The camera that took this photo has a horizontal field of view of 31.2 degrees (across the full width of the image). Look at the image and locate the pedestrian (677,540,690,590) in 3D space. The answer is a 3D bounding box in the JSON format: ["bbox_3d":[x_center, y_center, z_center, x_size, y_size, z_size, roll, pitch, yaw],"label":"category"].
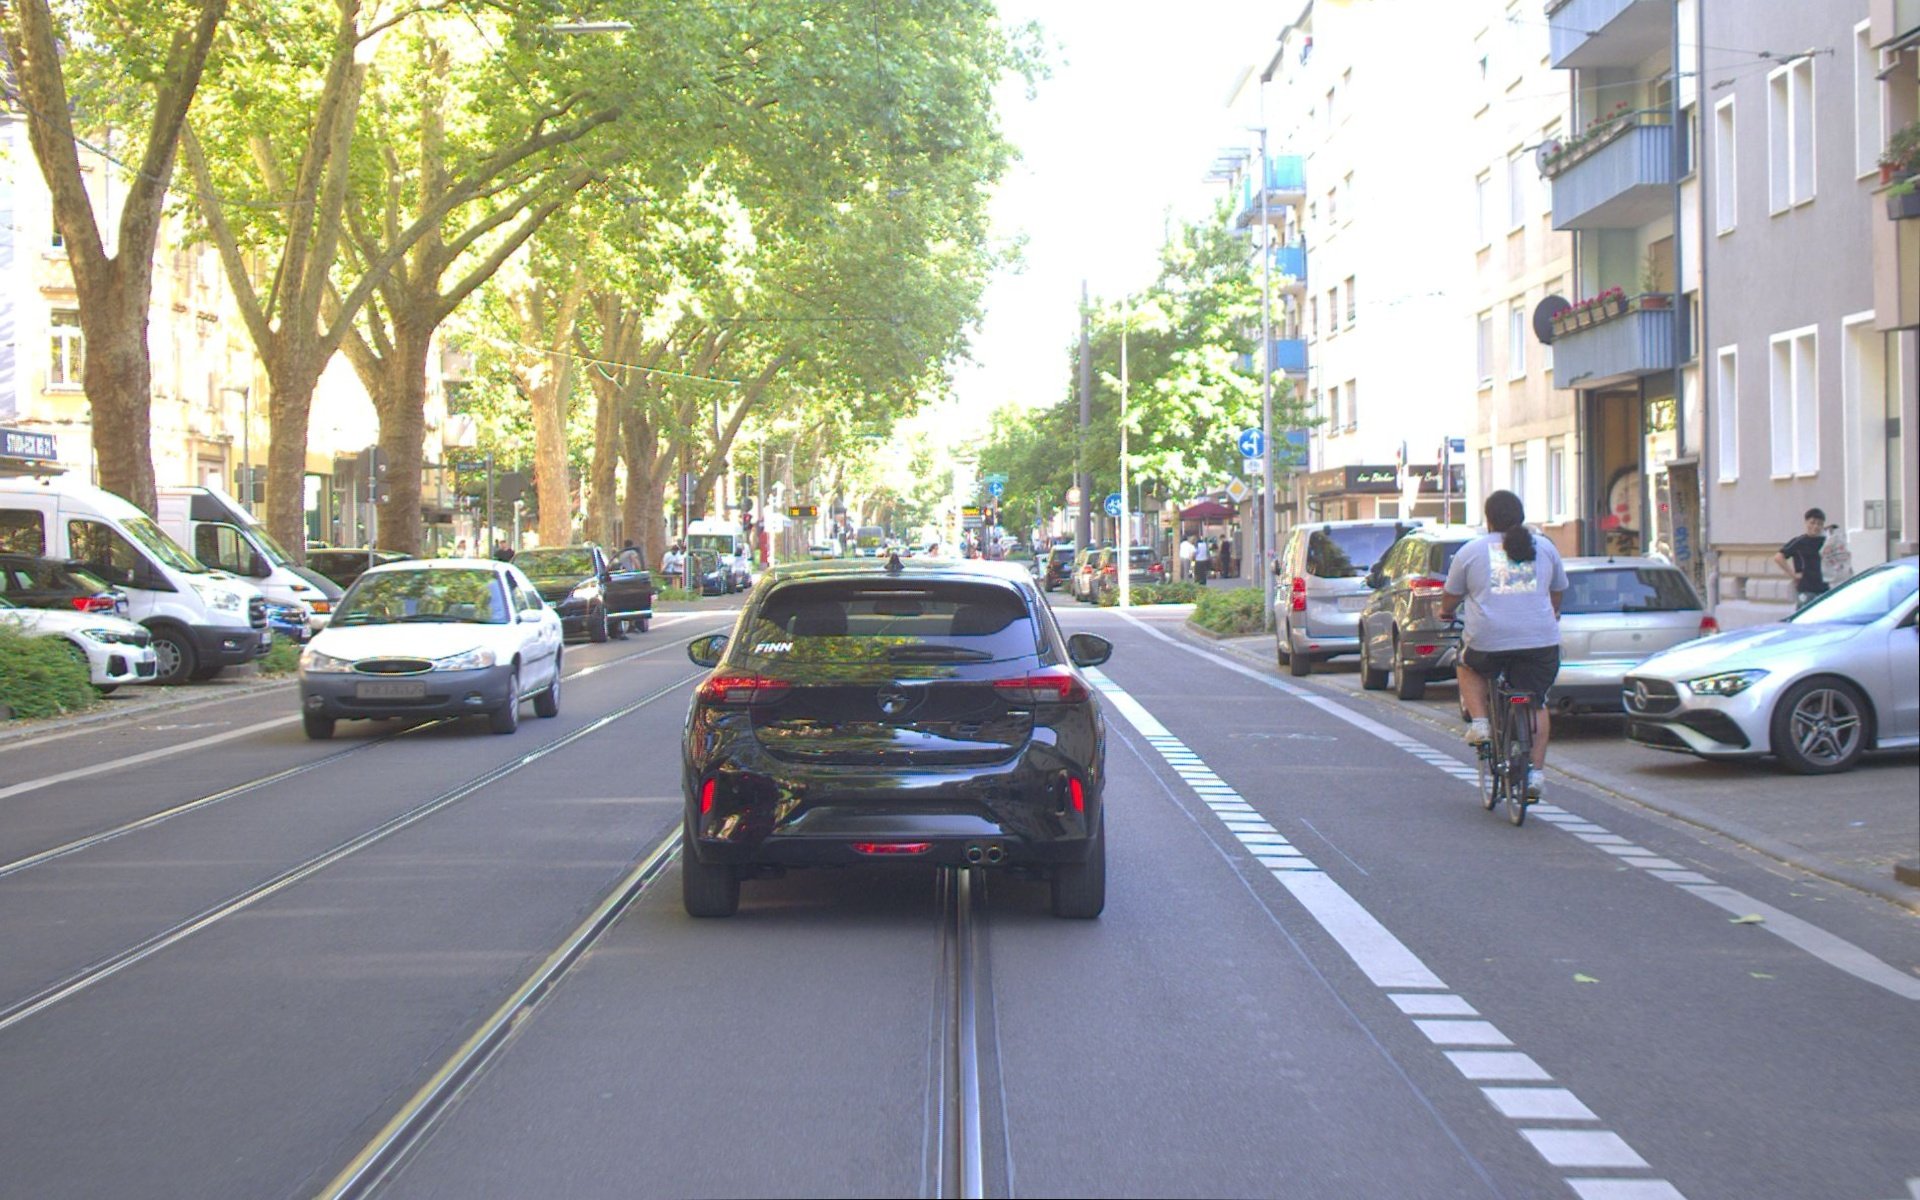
[{"bbox_3d":[-8.850,-1.119,110.010,0.346,1.577,0.508,-1,1,-2],"label":"pedestrian"}]

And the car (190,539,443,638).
[{"bbox_3d":[-10.993,-0.212,58.932,3.987,1.641,1.894,0,1,-1],"label":"car"}]

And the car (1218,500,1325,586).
[{"bbox_3d":[6.176,-1.136,68.520,1.858,1.646,4.000,-1,1,2],"label":"car"}]

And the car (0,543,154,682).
[{"bbox_3d":[-11.585,0.129,39.153,4.370,1.533,1.872,0,1,0],"label":"car"}]

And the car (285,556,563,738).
[{"bbox_3d":[-4.360,0.329,28.532,1.718,1.354,4.470,-1,1,-2],"label":"car"}]

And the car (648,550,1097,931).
[{"bbox_3d":[-0.345,0.511,14.861,1.679,1.417,3.628,1,1,0],"label":"car"}]

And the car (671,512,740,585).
[{"bbox_3d":[-9.277,-1.900,125.725,2.092,2.575,5.997,-1,1,0],"label":"car"}]

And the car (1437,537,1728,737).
[{"bbox_3d":[5.086,0.245,28.609,1.724,1.520,4.512,0,1,2],"label":"car"}]

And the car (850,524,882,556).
[{"bbox_3d":[-6.581,-4.169,239.373,1.993,2.204,5.103,-1,1,-4],"label":"car"}]

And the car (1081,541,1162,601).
[{"bbox_3d":[4.359,-0.804,93.424,1.718,1.568,4.085,-1,1,-4],"label":"car"}]

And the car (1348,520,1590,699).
[{"bbox_3d":[5.124,0.050,35.116,1.766,1.699,4.283,-1,1,-1],"label":"car"}]

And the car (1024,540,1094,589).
[{"bbox_3d":[3.373,-1.240,117.836,1.993,1.634,4.001,-1,1,-4],"label":"car"}]

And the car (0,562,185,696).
[{"bbox_3d":[-10.743,0.301,36.896,4.409,1.380,1.933,0,1,0],"label":"car"}]

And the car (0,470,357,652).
[{"bbox_3d":[-11.477,-0.580,50.404,4.943,2.559,2.083,-1,1,-3],"label":"car"}]

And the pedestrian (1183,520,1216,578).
[{"bbox_3d":[7.245,-1.544,104.009,0.769,1.742,0.794,0,1,23],"label":"pedestrian"}]

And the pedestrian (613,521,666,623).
[{"bbox_3d":[-5.562,-0.483,59.653,0.711,1.729,0.913,-2,1,-14],"label":"pedestrian"}]

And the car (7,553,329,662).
[{"bbox_3d":[-10.952,0.085,47.746,4.019,1.461,1.872,0,1,1],"label":"car"}]

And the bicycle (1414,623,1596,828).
[{"bbox_3d":[3.143,0.702,19.989,0.701,1.088,1.990,1,0,0],"label":"bicycle"}]

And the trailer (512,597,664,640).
[{"bbox_3d":[-6.920,0.328,64.663,2.161,0.629,6.400,0,1,0],"label":"trailer"}]

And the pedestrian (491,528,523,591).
[{"bbox_3d":[-13.531,-1.215,102.626,0.905,1.862,0.644,-1,1,-5],"label":"pedestrian"}]

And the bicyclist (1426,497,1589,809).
[{"bbox_3d":[3.144,0.293,19.806,0.786,1.753,0.915,0,1,0],"label":"bicyclist"}]

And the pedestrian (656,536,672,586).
[{"bbox_3d":[-9.423,-1.243,109.452,0.506,1.577,0.527,-1,1,-4],"label":"pedestrian"}]

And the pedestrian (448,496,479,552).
[{"bbox_3d":[-14.589,-2.238,100.960,0.846,1.627,0.644,-1,1,-5],"label":"pedestrian"}]

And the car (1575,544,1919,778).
[{"bbox_3d":[6.758,0.340,23.538,4.612,1.432,1.865,-2,1,-11],"label":"car"}]

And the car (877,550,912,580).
[{"bbox_3d":[-3.664,-1.955,192.509,1.750,1.646,4.000,-1,1,2],"label":"car"}]

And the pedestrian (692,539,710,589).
[{"bbox_3d":[-8.270,-1.150,109.681,0.507,1.577,0.527,-1,1,0],"label":"pedestrian"}]

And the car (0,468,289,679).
[{"bbox_3d":[-11.025,-0.318,41.652,5.360,2.469,2.057,-1,1,1],"label":"car"}]

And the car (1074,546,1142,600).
[{"bbox_3d":[4.243,-0.793,99.012,1.718,1.485,3.682,-1,1,-1],"label":"car"}]

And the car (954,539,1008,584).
[{"bbox_3d":[0.790,-1.434,127.110,1.858,1.646,4.000,-1,1,2],"label":"car"}]

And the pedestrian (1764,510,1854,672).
[{"bbox_3d":[9.079,-0.104,36.783,0.756,1.714,0.720,-1,1,-1],"label":"pedestrian"}]

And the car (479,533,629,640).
[{"bbox_3d":[-6.938,-0.265,59.219,1.993,1.694,4.485,-2,1,0],"label":"car"}]

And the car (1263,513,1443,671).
[{"bbox_3d":[4.961,-0.139,43.919,1.858,1.883,4.924,-1,1,2],"label":"car"}]

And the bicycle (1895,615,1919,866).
[{"bbox_3d":[5.505,0.637,16.449,1.892,1.187,0.457,-2,1,0],"label":"bicycle"}]
